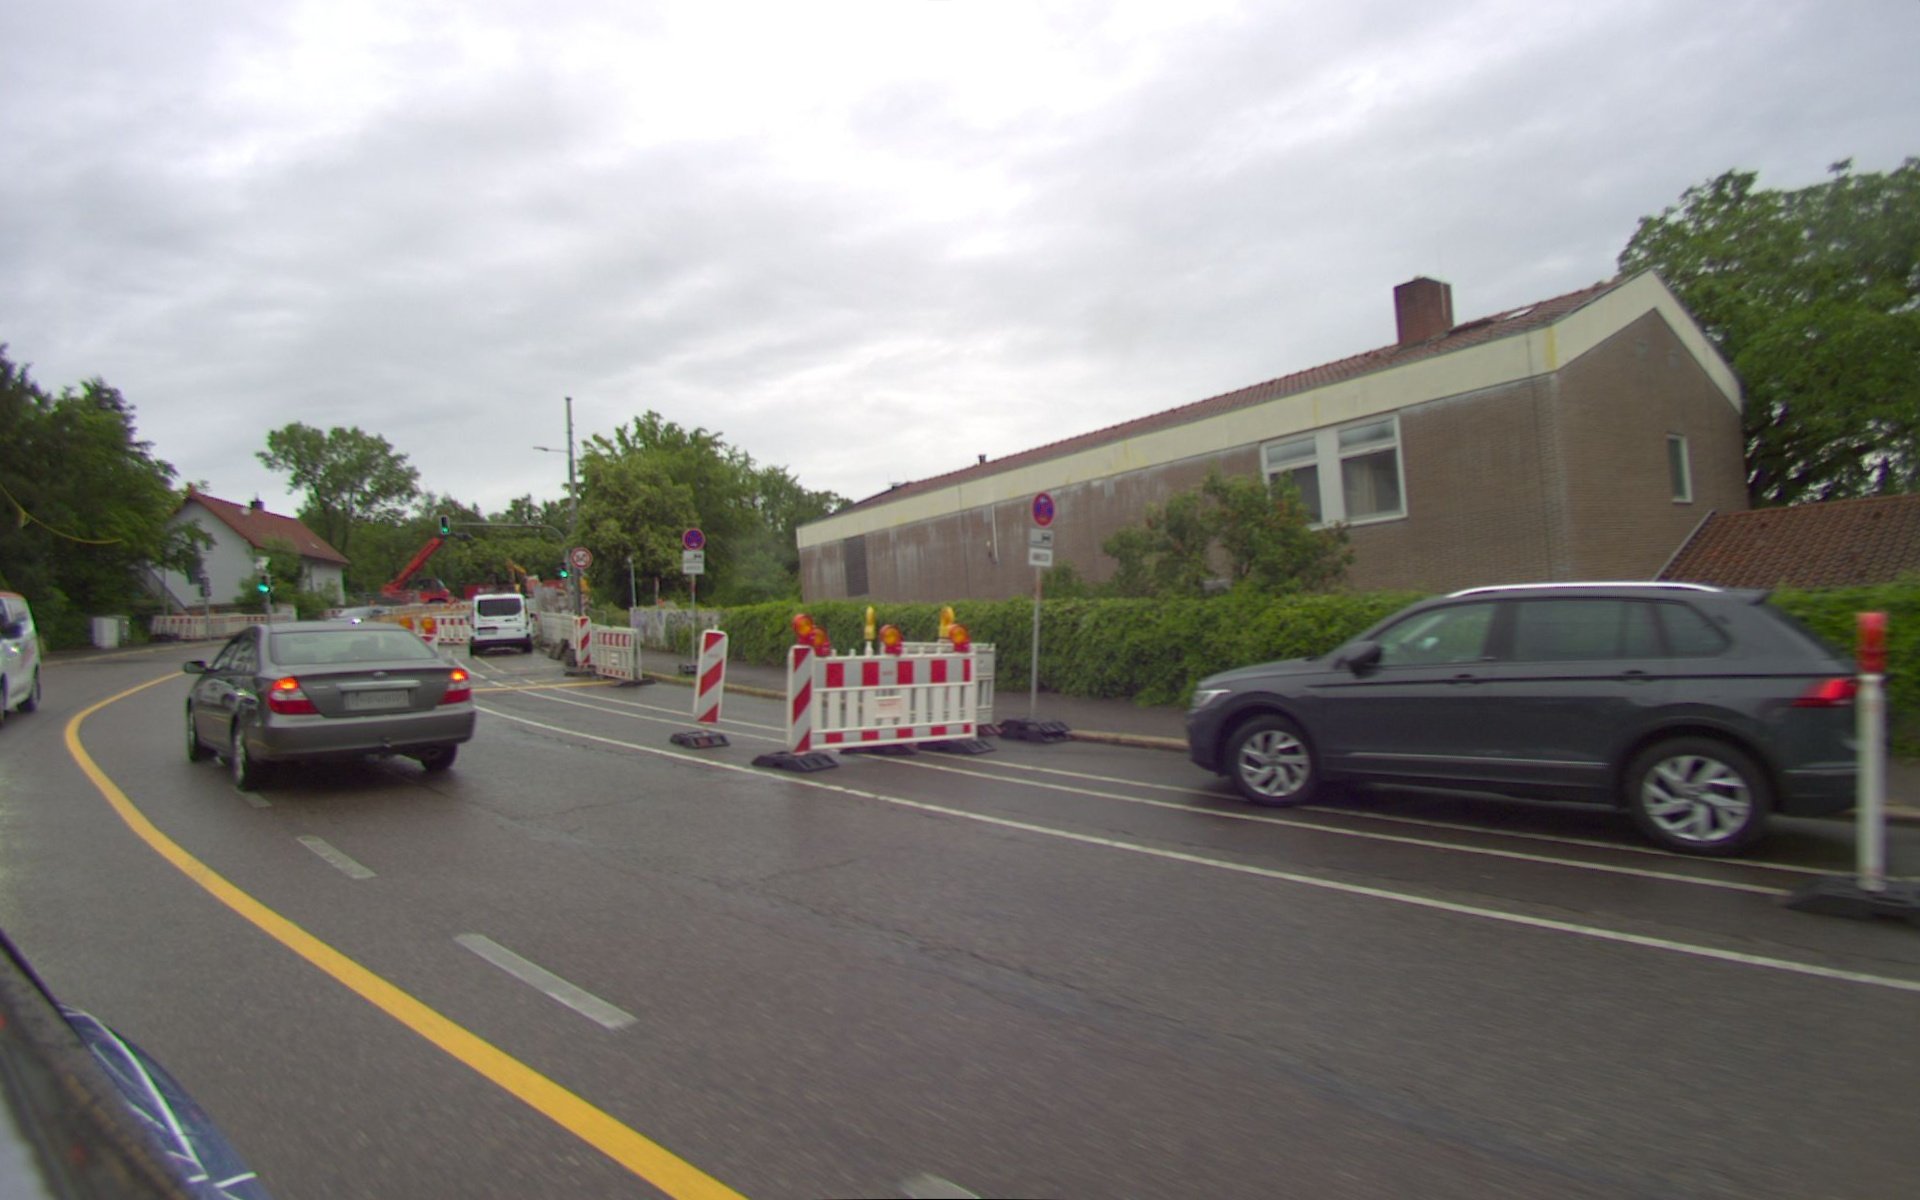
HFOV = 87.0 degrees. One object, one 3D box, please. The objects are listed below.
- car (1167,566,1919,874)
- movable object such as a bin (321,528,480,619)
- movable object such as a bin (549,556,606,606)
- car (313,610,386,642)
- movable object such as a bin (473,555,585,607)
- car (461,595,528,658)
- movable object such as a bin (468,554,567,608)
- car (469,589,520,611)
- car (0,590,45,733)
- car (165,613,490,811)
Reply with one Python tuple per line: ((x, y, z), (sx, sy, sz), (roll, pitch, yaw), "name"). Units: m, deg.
((3.926, 0.666, 7.315), (4.457, 1.620, 1.703), (-1, 0, 38), "car")
((-42.681, -2.005, 77.837), (8.909, 6.601, 7.053), (0, 0, -10), "movable object such as a bin")
((-40.262, -1.936, 106.233), (3.269, 5.040, 9.879), (-1, 0, -35), "movable object such as a bin")
((-31.737, 1.301, 52.766), (1.957, 1.447, 4.527), (-1, 1, -13), "car")
((-46.421, -2.010, 109.947), (5.193, 5.237, 13.505), (0, 0, 7), "movable object such as a bin")
((-14.817, 0.806, 32.301), (1.779, 1.814, 4.477), (-1, 0, -24), "car")
((-42.940, -1.842, 98.407), (8.211, 5.092, 3.324), (0, 0, 0), "movable object such as a bin")
((-32.457, -0.004, 70.727), (1.959, 1.470, 4.523), (-1, 1, -7), "car")
((-14.823, 0.860, 14.486), (2.009, 1.954, 4.526), (1, -1, -35), "car")
((-6.527, 0.943, 10.175), (1.769, 1.502, 4.673), (-1, -1, -45), "car")
